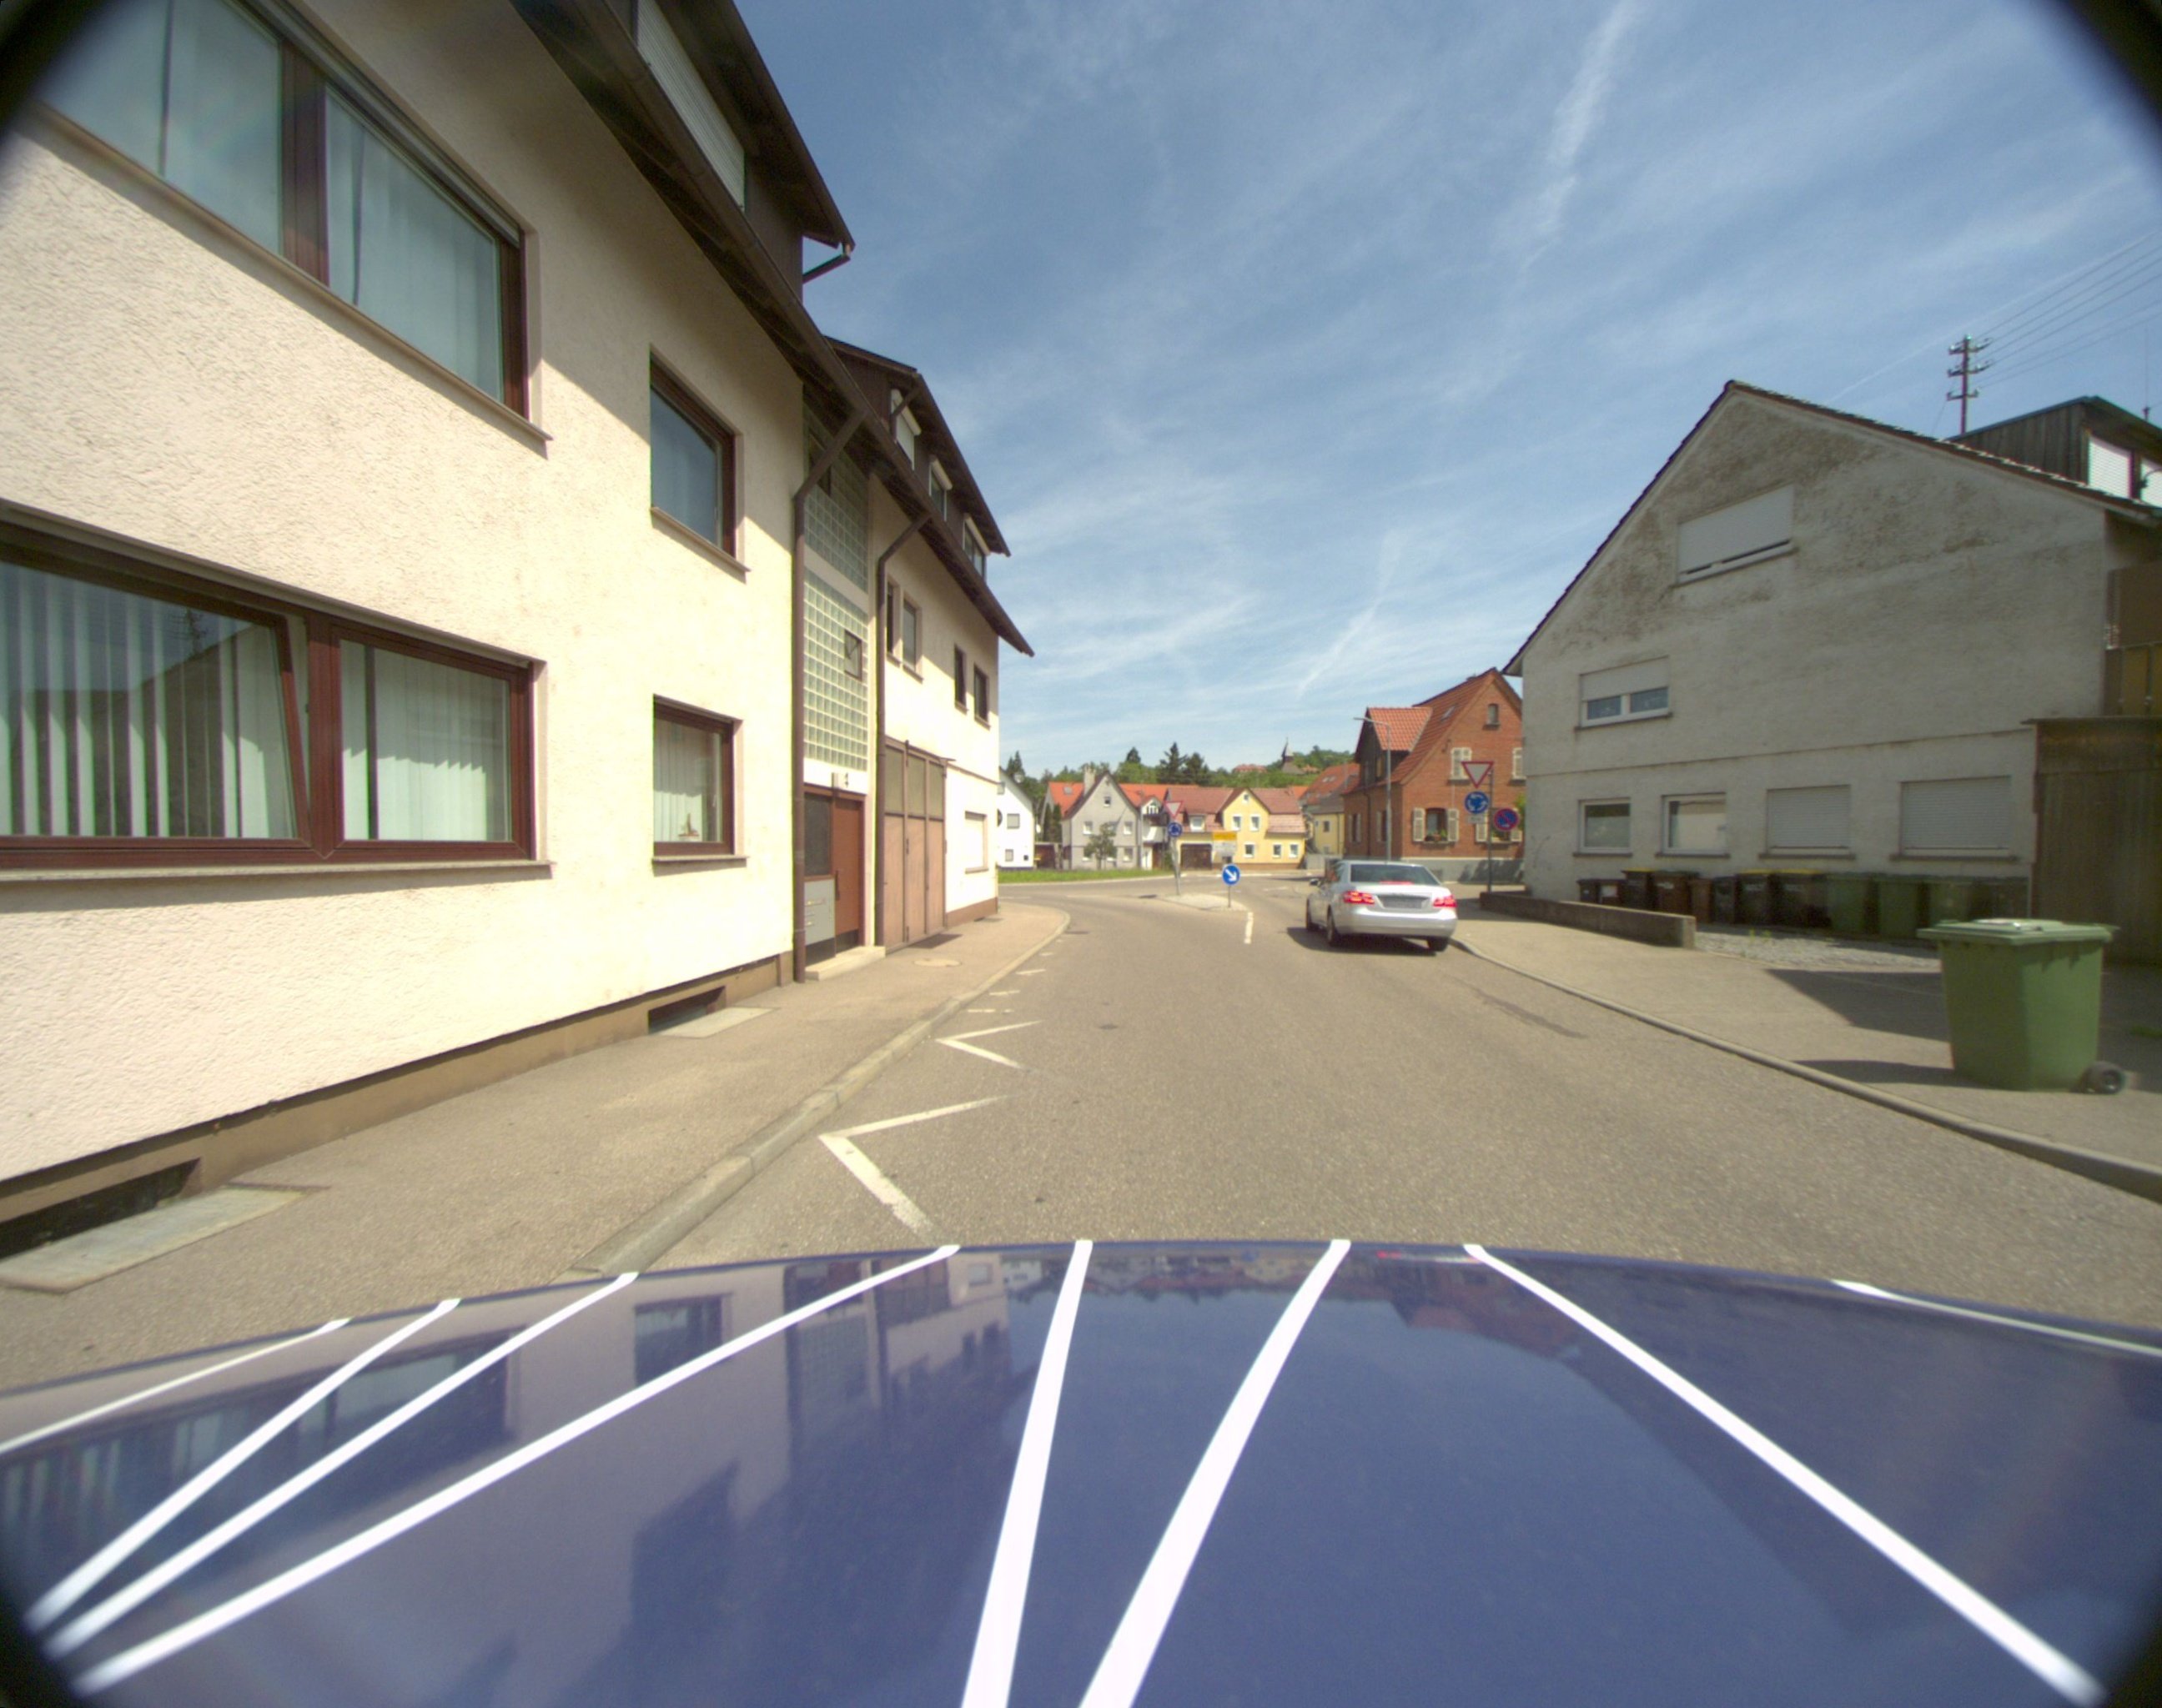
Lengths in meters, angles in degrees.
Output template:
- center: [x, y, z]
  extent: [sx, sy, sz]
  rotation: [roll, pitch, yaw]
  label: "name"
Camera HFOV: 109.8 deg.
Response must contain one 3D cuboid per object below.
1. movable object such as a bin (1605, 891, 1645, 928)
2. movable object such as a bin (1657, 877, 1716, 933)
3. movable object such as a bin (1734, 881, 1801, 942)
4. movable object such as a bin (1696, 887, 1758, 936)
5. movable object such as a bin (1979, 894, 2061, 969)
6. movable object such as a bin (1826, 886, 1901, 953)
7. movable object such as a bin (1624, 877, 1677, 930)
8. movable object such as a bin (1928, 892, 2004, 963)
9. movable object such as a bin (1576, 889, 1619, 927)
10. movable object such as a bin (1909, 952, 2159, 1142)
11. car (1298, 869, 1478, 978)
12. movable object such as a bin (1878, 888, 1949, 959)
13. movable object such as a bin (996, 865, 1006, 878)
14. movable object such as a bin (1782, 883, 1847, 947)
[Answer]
- center: [12.152, 1.228, 16.977]
  extent: [0.487, 0.776, 0.526]
  rotation: [-2, 1, -22]
  label: "movable object such as a bin"
- center: [12.534, 1.041, 15.741]
  extent: [0.686, 1.080, 0.697]
  rotation: [-2, 1, -22]
  label: "movable object such as a bin"
- center: [12.955, 1.067, 14.349]
  extent: [0.686, 1.076, 0.697]
  rotation: [-2, 1, -22]
  label: "movable object such as a bin"
- center: [12.817, 1.124, 15.083]
  extent: [0.686, 0.891, 0.697]
  rotation: [-2, 1, -22]
  label: "movable object such as a bin"
- center: [13.963, 1.138, 11.304]
  extent: [0.631, 1.028, 0.612]
  rotation: [-2, 1, -22]
  label: "movable object such as a bin"
- center: [13.509, 1.113, 13.121]
  extent: [0.742, 1.076, 0.659]
  rotation: [-2, 1, -22]
  label: "movable object such as a bin"
- center: [12.273, 1.054, 16.383]
  extent: [0.686, 1.080, 0.644]
  rotation: [-2, 1, -22]
  label: "movable object such as a bin"
- center: [13.926, 1.136, 11.958]
  extent: [0.630, 1.029, 0.602]
  rotation: [-2, 1, -22]
  label: "movable object such as a bin"
- center: [11.928, 1.238, 17.543]
  extent: [0.487, 0.801, 0.645]
  rotation: [-2, 1, -22]
  label: "movable object such as a bin"
- center: [6.089, 1.205, 4.896]
  extent: [0.793, 1.051, 0.651]
  rotation: [-1, 0, 1]
  label: "movable object such as a bin"
- center: [5.187, 1.079, 13.505]
  extent: [1.959, 1.477, 4.461]
  rotation: [-1, 0, 8]
  label: "car"
- center: [13.713, 1.130, 12.518]
  extent: [0.681, 1.076, 0.582]
  rotation: [-2, 1, -22]
  label: "movable object such as a bin"
- center: [-6.224, 1.353, 58.956]
  extent: [0.579, 1.042, 0.902]
  rotation: [-1, 0, -14]
  label: "movable object such as a bin"
- center: [13.265, 1.085, 13.745]
  extent: [0.686, 1.076, 0.624]
  rotation: [-2, 1, -22]
  label: "movable object such as a bin"
